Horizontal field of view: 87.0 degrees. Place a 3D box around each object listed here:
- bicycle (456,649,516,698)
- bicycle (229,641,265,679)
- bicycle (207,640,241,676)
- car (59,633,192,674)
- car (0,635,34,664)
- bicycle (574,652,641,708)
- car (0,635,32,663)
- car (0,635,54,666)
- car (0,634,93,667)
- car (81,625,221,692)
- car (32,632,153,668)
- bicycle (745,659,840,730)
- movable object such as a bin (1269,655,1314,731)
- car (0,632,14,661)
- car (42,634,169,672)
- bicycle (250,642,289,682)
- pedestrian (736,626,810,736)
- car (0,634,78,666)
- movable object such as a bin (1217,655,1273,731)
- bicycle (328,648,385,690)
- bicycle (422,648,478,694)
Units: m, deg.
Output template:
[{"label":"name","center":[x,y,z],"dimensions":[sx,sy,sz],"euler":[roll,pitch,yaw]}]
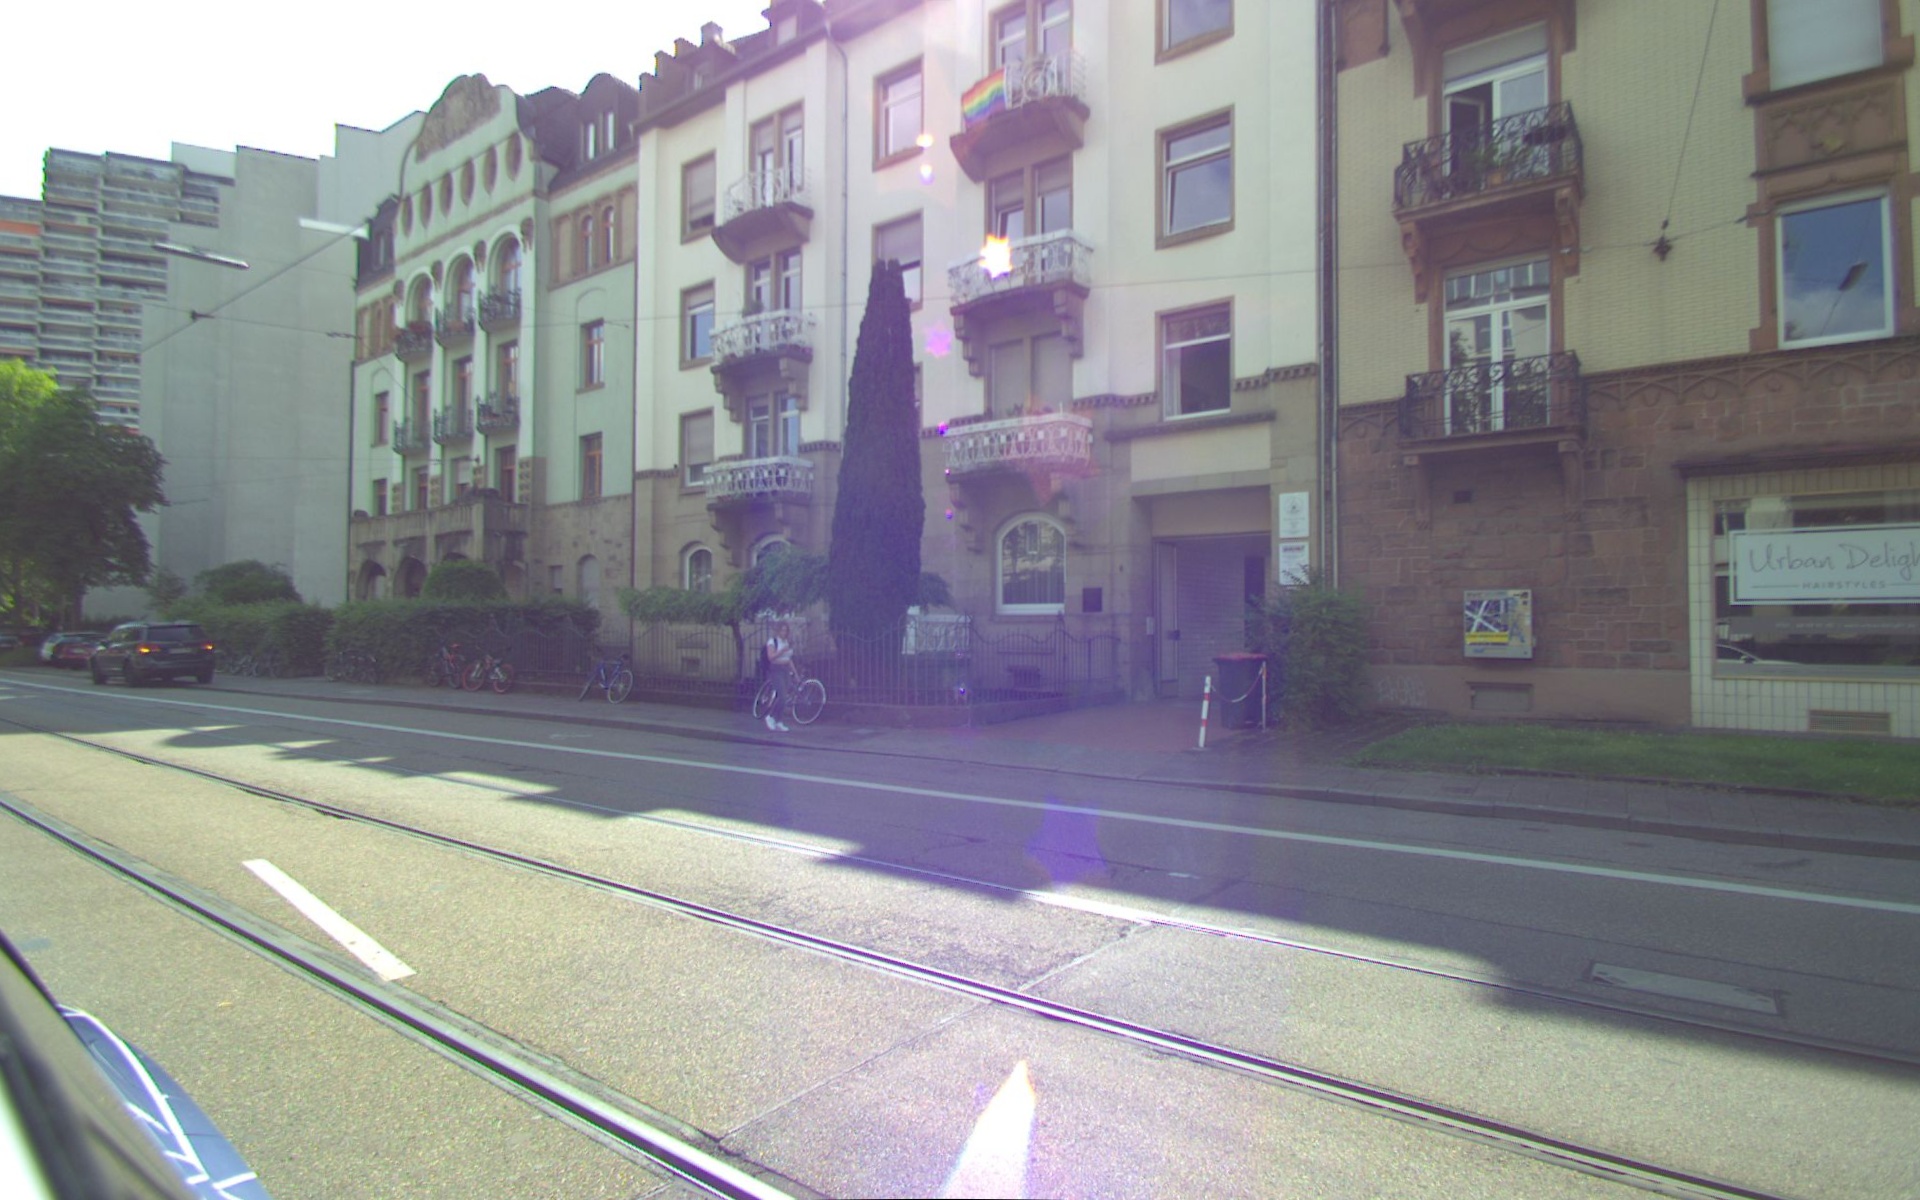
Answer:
[{"label":"bicycle","center":[-10.315,1.577,21.984],"dimensions":[1.785,1.003,0.462],"euler":[-2,-3,40]},{"label":"bicycle","center":[-22.082,1.853,31.337],"dimensions":[1.785,1.144,0.462],"euler":[-2,-3,40]},{"label":"bicycle","center":[-23.735,1.851,32.629],"dimensions":[1.785,1.144,0.462],"euler":[-2,-3,40]},{"label":"car","center":[-32.940,2.086,39.979],"dimensions":[3.938,1.519,2.002],"euler":[2,-3,-42]},{"label":"car","center":[-51.354,2.579,53.144],"dimensions":[3.938,1.519,2.002],"euler":[2,-3,-42]},{"label":"bicycle","center":[-6.732,1.498,19.283],"dimensions":[0.461,1.003,1.788],"euler":[2,-3,-45]},{"label":"car","center":[-53.541,2.657,55.450],"dimensions":[3.938,1.519,2.002],"euler":[2,-3,-42]},{"label":"car","center":[-48.665,2.546,51.359],"dimensions":[3.938,1.519,2.002],"euler":[2,-3,-42]},{"label":"car","center":[-43.532,2.374,47.725],"dimensions":[3.938,1.519,2.002],"euler":[2,-3,-42]},{"label":"car","center":[-22.299,1.553,27.855],"dimensions":[4.393,1.708,1.899],"euler":[-1,-3,36]},{"label":"car","center":[-38.223,2.171,44.654],"dimensions":[3.938,1.519,2.002],"euler":[2,-3,-42]},{"label":"bicycle","center":[-2.664,1.460,15.975],"dimensions":[0.461,1.003,1.980],"euler":[2,-3,-43]},{"label":"movable object such as a bin","center":[4.664,1.295,14.256],"dimensions":[0.531,1.037,0.475],"euler":[0,-2,11]},{"label":"car","center":[-56.439,2.639,57.401],"dimensions":[3.938,1.695,2.002],"euler":[2,-3,-42]},{"label":"car","center":[-35.620,2.172,42.237],"dimensions":[3.938,1.519,2.002],"euler":[2,-3,-42]},{"label":"bicycle","center":[-20.558,1.833,30.133],"dimensions":[1.785,1.144,0.462],"euler":[-2,-3,40]},{"label":"pedestrian","center":[-2.737,1.161,14.857],"dimensions":[0.764,1.553,0.749],"euler":[-2,-3,39]},{"label":"car","center":[-45.985,2.454,49.706],"dimensions":[3.938,1.519,2.002],"euler":[2,-3,-42]},{"label":"movable object such as a bin","center":[4.001,1.297,14.232],"dimensions":[0.697,1.037,0.475],"euler":[0,-2,11]},{"label":"bicycle","center":[-15.200,1.721,25.465],"dimensions":[1.979,1.003,0.597],"euler":[-2,-3,40]},{"label":"bicycle","center":[-11.730,1.614,23.249],"dimensions":[1.785,1.003,0.462],"euler":[-2,-3,40]}]
